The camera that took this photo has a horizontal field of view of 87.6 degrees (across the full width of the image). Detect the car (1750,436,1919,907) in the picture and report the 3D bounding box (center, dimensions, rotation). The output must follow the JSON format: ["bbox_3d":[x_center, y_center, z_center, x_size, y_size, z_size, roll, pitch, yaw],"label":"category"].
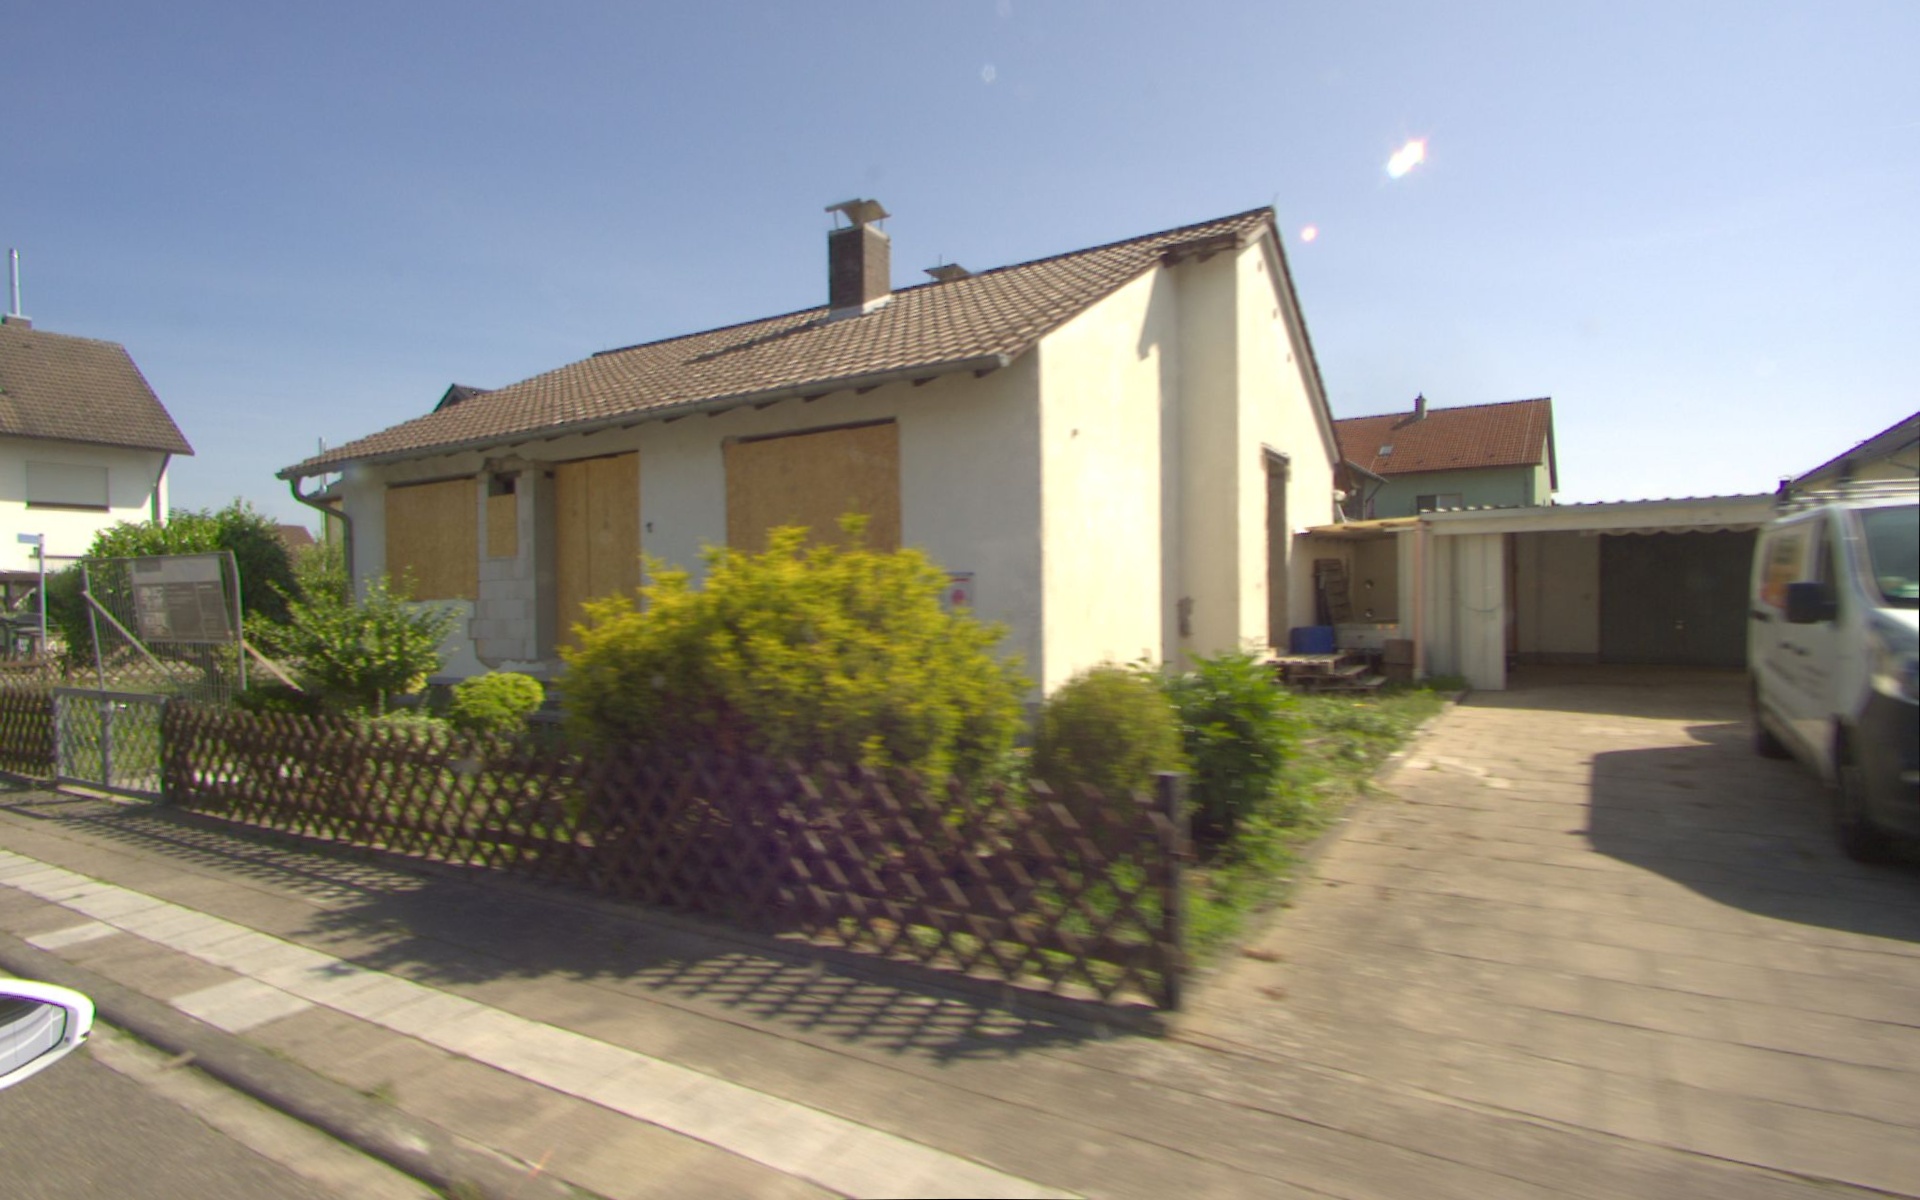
[{"bbox_3d":[6.195,0.269,5.963,1.841,2.041,4.984,0,1,33],"label":"car"}]
